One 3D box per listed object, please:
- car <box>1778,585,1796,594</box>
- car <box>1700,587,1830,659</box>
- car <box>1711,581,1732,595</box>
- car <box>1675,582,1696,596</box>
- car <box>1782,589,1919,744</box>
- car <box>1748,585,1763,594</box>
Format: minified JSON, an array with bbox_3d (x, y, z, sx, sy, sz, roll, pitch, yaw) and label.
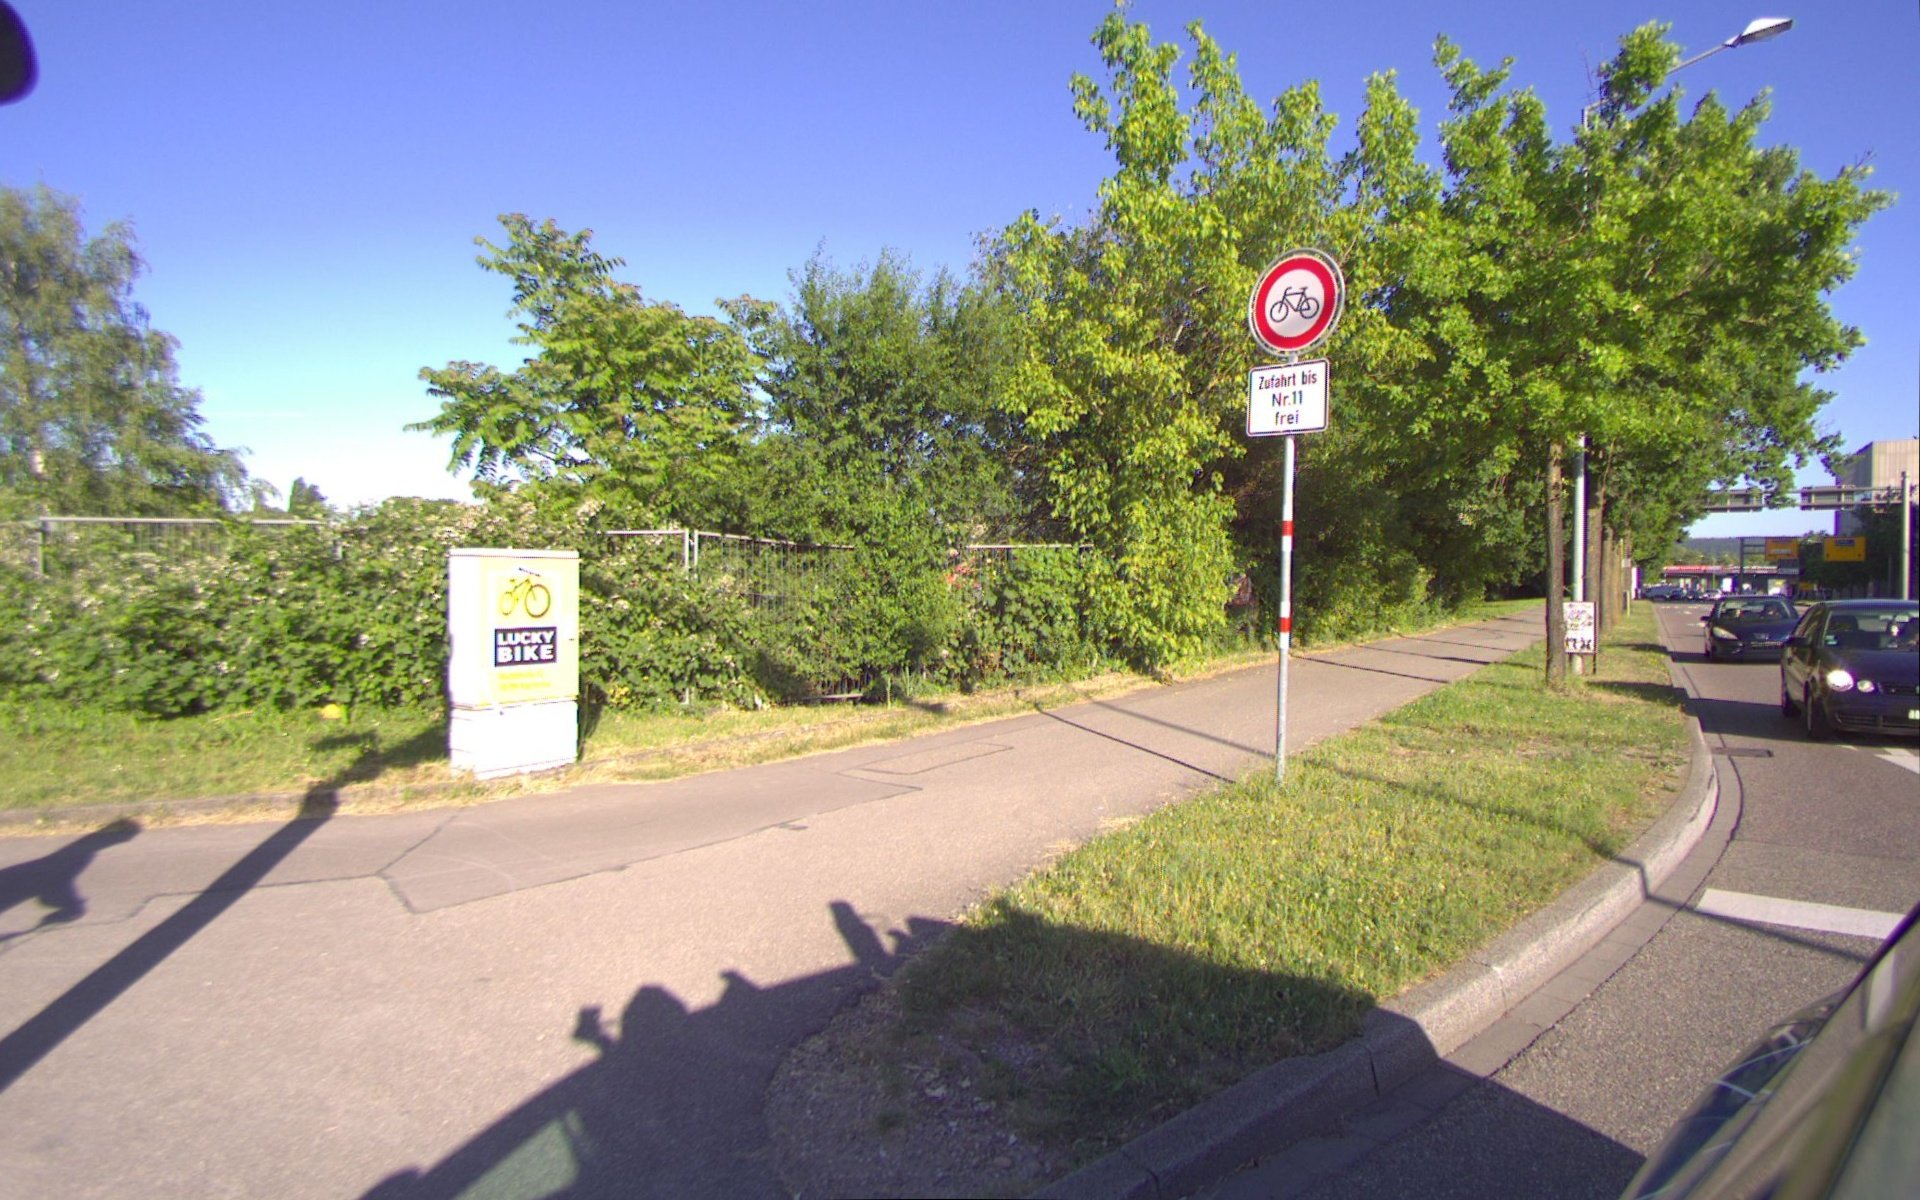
[{"bbox_3d":[141.203,-1.785,172.872,1.987,1.598,3.950,1,2,35],"label":"car"},{"bbox_3d":[18.169,0.470,23.017,1.744,1.472,3.957,-2,0,31],"label":"car"},{"bbox_3d":[95.554,-1.483,127.033,1.990,1.709,3.944,1,1,39],"label":"car"},{"bbox_3d":[91.804,-1.393,128.058,1.990,1.709,3.944,1,1,39],"label":"car"},{"bbox_3d":[10.569,0.619,11.471,1.628,1.486,4.488,0,1,35],"label":"car"},{"bbox_3d":[151.100,-1.985,192.161,1.987,1.598,3.950,1,2,35],"label":"car"}]
